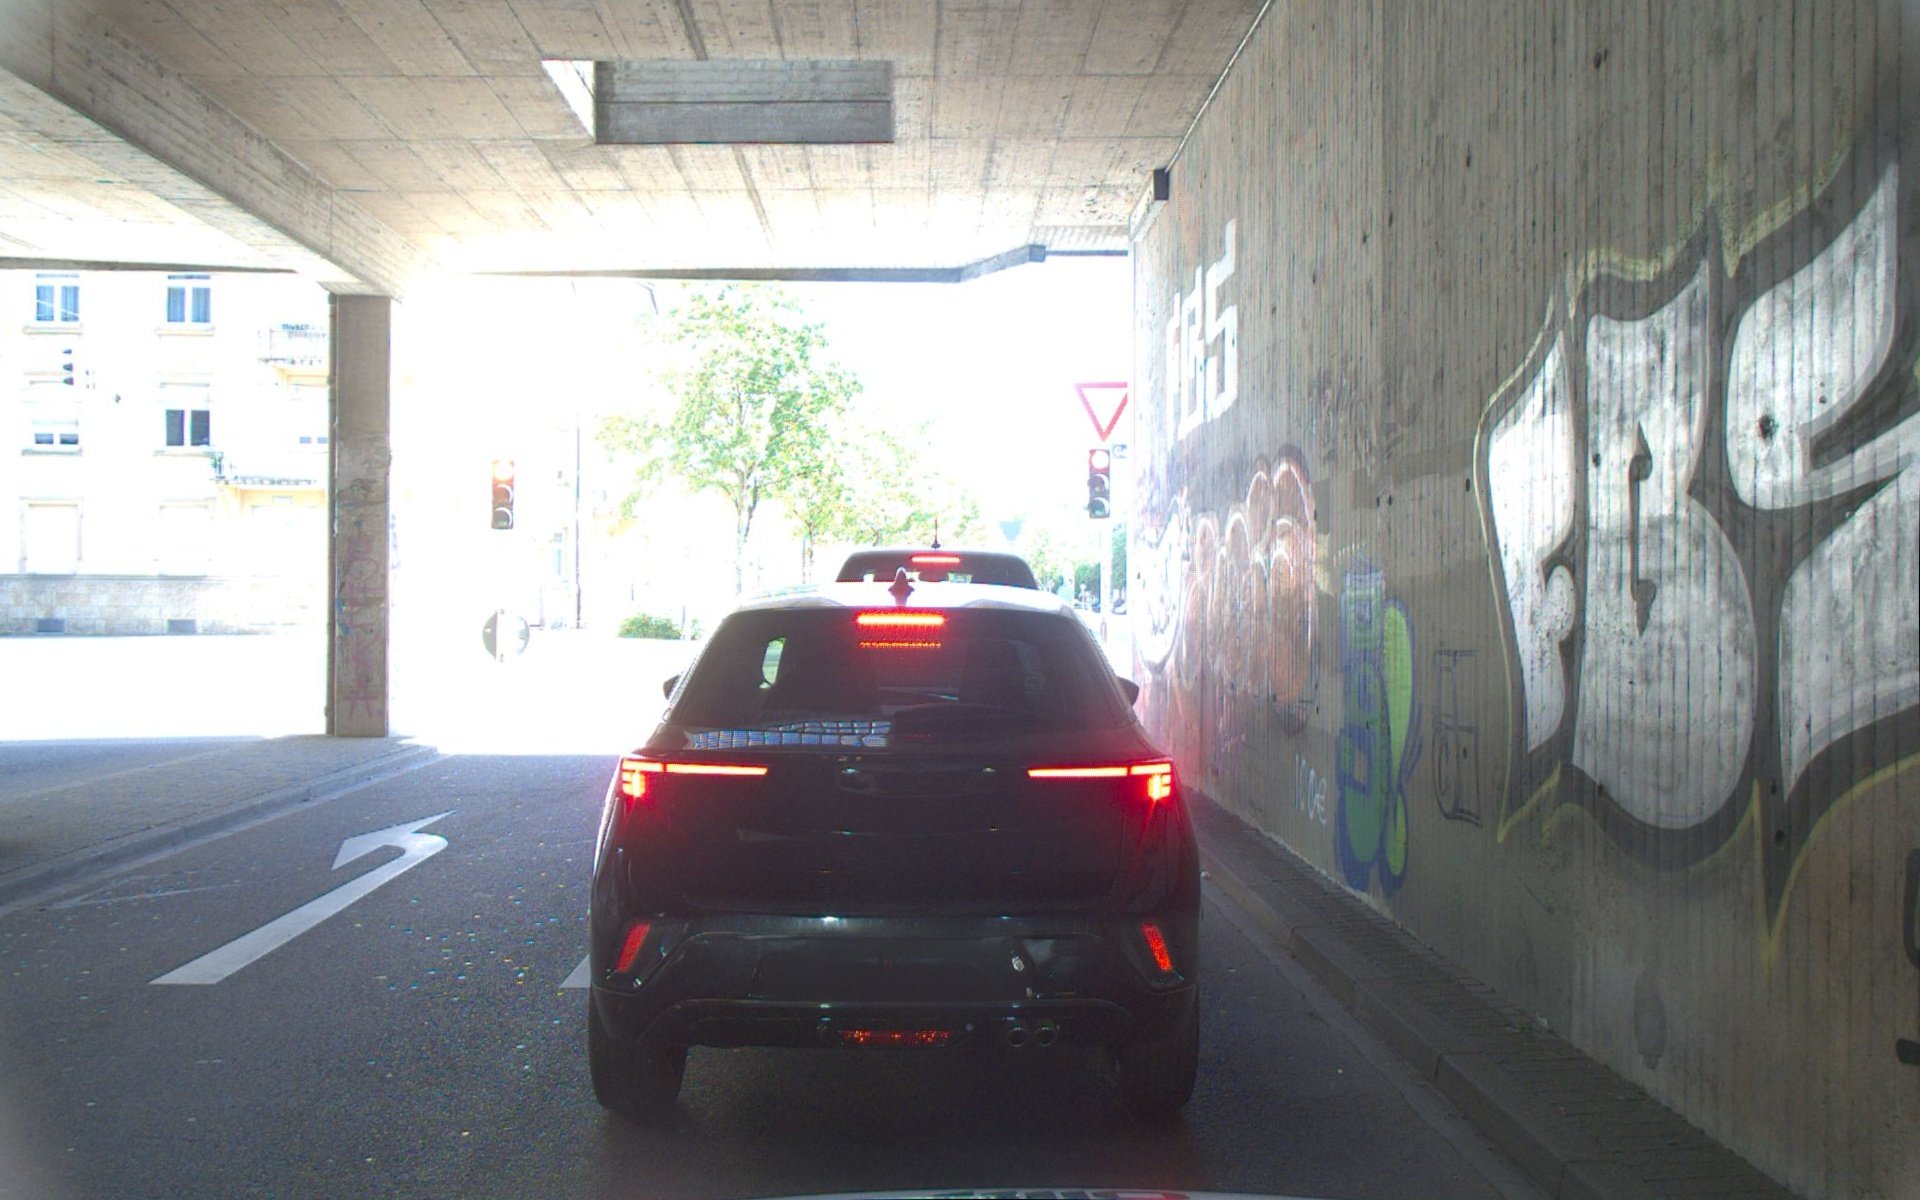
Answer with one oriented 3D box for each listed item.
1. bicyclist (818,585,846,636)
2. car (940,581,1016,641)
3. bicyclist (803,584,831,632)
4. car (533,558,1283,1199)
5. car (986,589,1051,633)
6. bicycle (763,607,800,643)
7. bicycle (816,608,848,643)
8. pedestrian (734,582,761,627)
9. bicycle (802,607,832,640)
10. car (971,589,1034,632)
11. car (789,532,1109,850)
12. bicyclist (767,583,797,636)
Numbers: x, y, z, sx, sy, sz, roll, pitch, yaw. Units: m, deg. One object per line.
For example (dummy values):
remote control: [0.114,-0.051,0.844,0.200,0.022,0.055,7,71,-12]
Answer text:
bicyclist: [-4.025,0.328,52.025,0.713,1.609,0.815,1,-1,9]
car: [0.501,0.330,44.189,1.927,1.523,3.896,0,-1,1]
bicyclist: [-4.827,0.278,55.860,0.713,1.609,0.815,1,-1,9]
car: [-0.151,0.673,6.070,1.844,1.565,3.963,0,0,-1]
car: [2.472,0.471,69.048,2.173,1.749,4.463,0,-1,9]
bicycle: [-5.552,0.766,51.432,0.716,1.086,1.690,1,0,9]
bicycle: [-4.005,0.794,51.991,0.612,1.086,1.690,1,0,9]
pedestrian: [-9.806,0.206,76.411,0.971,2.049,1.089,0,0,7]
bicycle: [-4.822,0.783,55.981,0.612,1.086,1.690,1,0,9]
car: [1.626,0.431,62.226,1.926,1.523,3.899,0,-1,8]
car: [-0.092,0.533,11.894,1.906,1.892,3.963,0,0,-1]
bicyclist: [-5.534,0.301,51.465,0.713,1.609,0.815,1,-1,9]
